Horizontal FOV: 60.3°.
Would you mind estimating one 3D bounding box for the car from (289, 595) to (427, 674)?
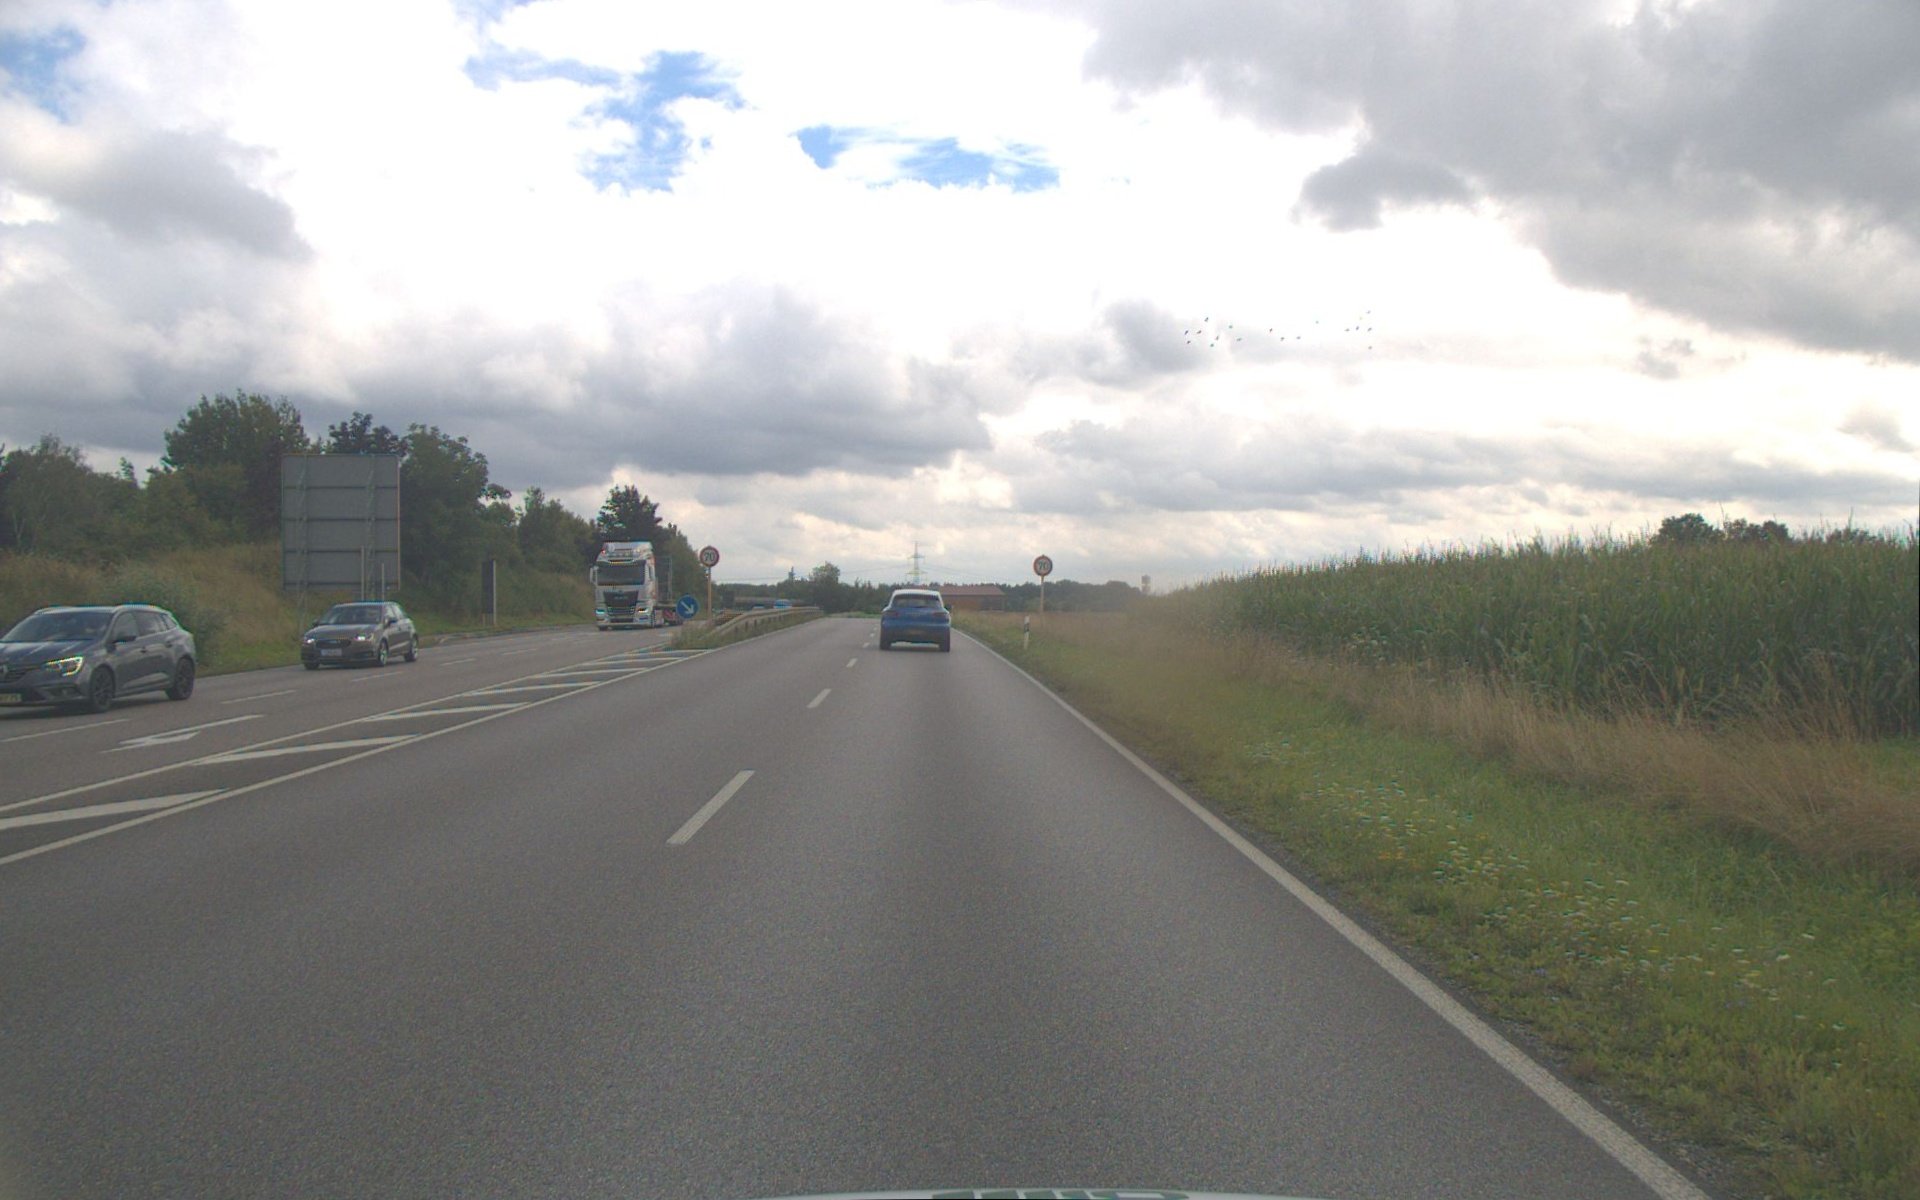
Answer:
[{"bbox_3d":[-13.350,0.718,36.916,1.698,1.556,4.191,-2,1,-3],"label":"car"}]

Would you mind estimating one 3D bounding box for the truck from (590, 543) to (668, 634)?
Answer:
[{"bbox_3d":[-15.267,-0.532,76.582,2.747,4.067,5.284,0,1,-3],"label":"truck"}]

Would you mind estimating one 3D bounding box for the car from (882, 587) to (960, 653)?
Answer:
[{"bbox_3d":[-1.131,0.515,45.596,1.992,1.689,4.540,1,0,-3],"label":"car"}]

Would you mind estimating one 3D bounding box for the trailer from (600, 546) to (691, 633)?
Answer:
[{"bbox_3d":[-15.583,-0.584,82.931,2.720,4.016,12.978,0,1,-3],"label":"trailer"}]

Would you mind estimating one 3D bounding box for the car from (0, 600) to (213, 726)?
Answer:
[{"bbox_3d":[-12.477,0.823,23.612,1.698,1.556,4.546,-2,1,-3],"label":"car"}]
